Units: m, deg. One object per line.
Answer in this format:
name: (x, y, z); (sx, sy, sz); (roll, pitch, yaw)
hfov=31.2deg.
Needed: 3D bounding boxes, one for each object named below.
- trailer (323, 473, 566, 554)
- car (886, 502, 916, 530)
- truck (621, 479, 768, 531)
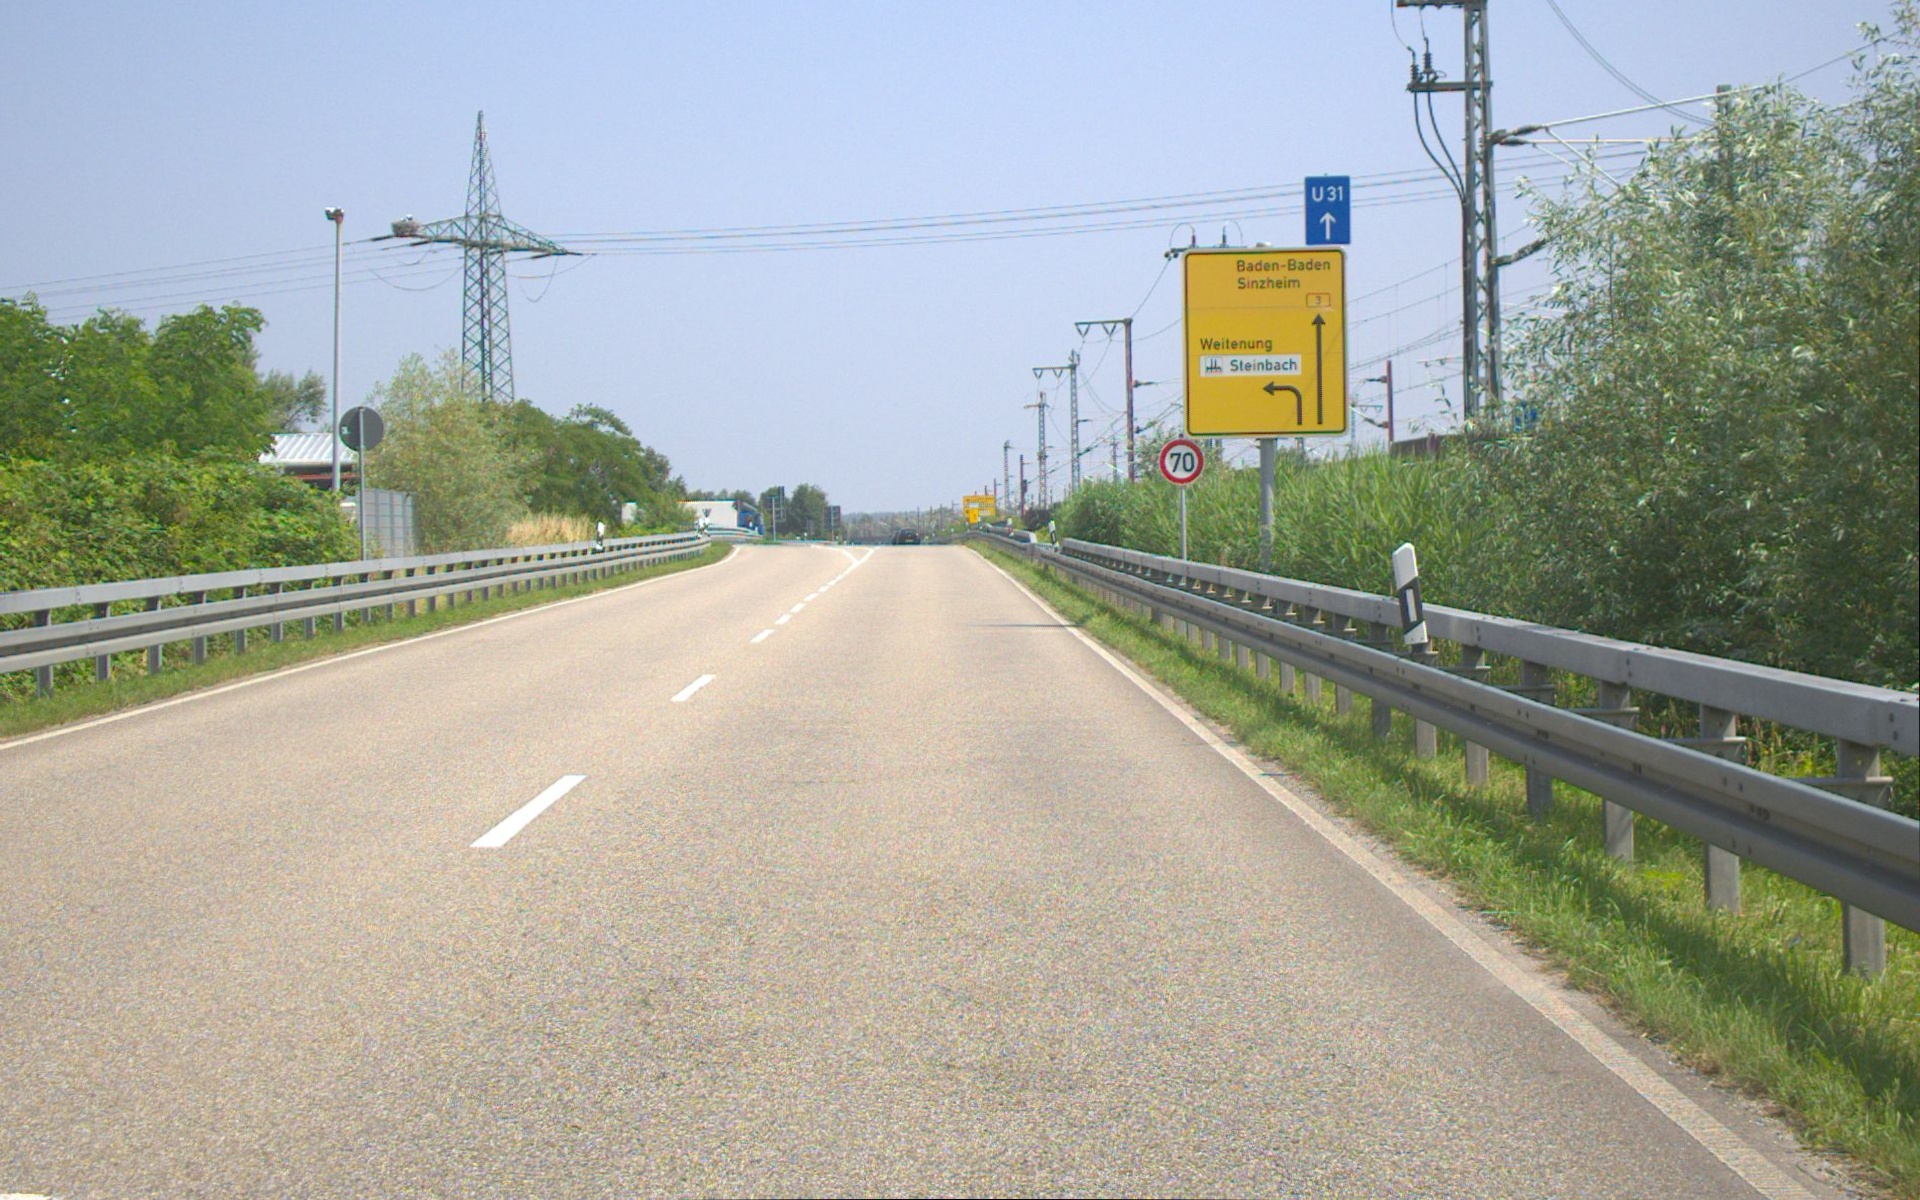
trailer: (-12.126, -2.063, 81.229); (5.386, 1.842, 2.544); (0, 2, -1)
car: (-4.338, -6.197, 253.394); (1.993, 2.006, 4.001); (0, 2, -4)
truck: (-18.977, -6.790, 245.869); (10.412, 3.619, 2.845); (0, 2, -3)
